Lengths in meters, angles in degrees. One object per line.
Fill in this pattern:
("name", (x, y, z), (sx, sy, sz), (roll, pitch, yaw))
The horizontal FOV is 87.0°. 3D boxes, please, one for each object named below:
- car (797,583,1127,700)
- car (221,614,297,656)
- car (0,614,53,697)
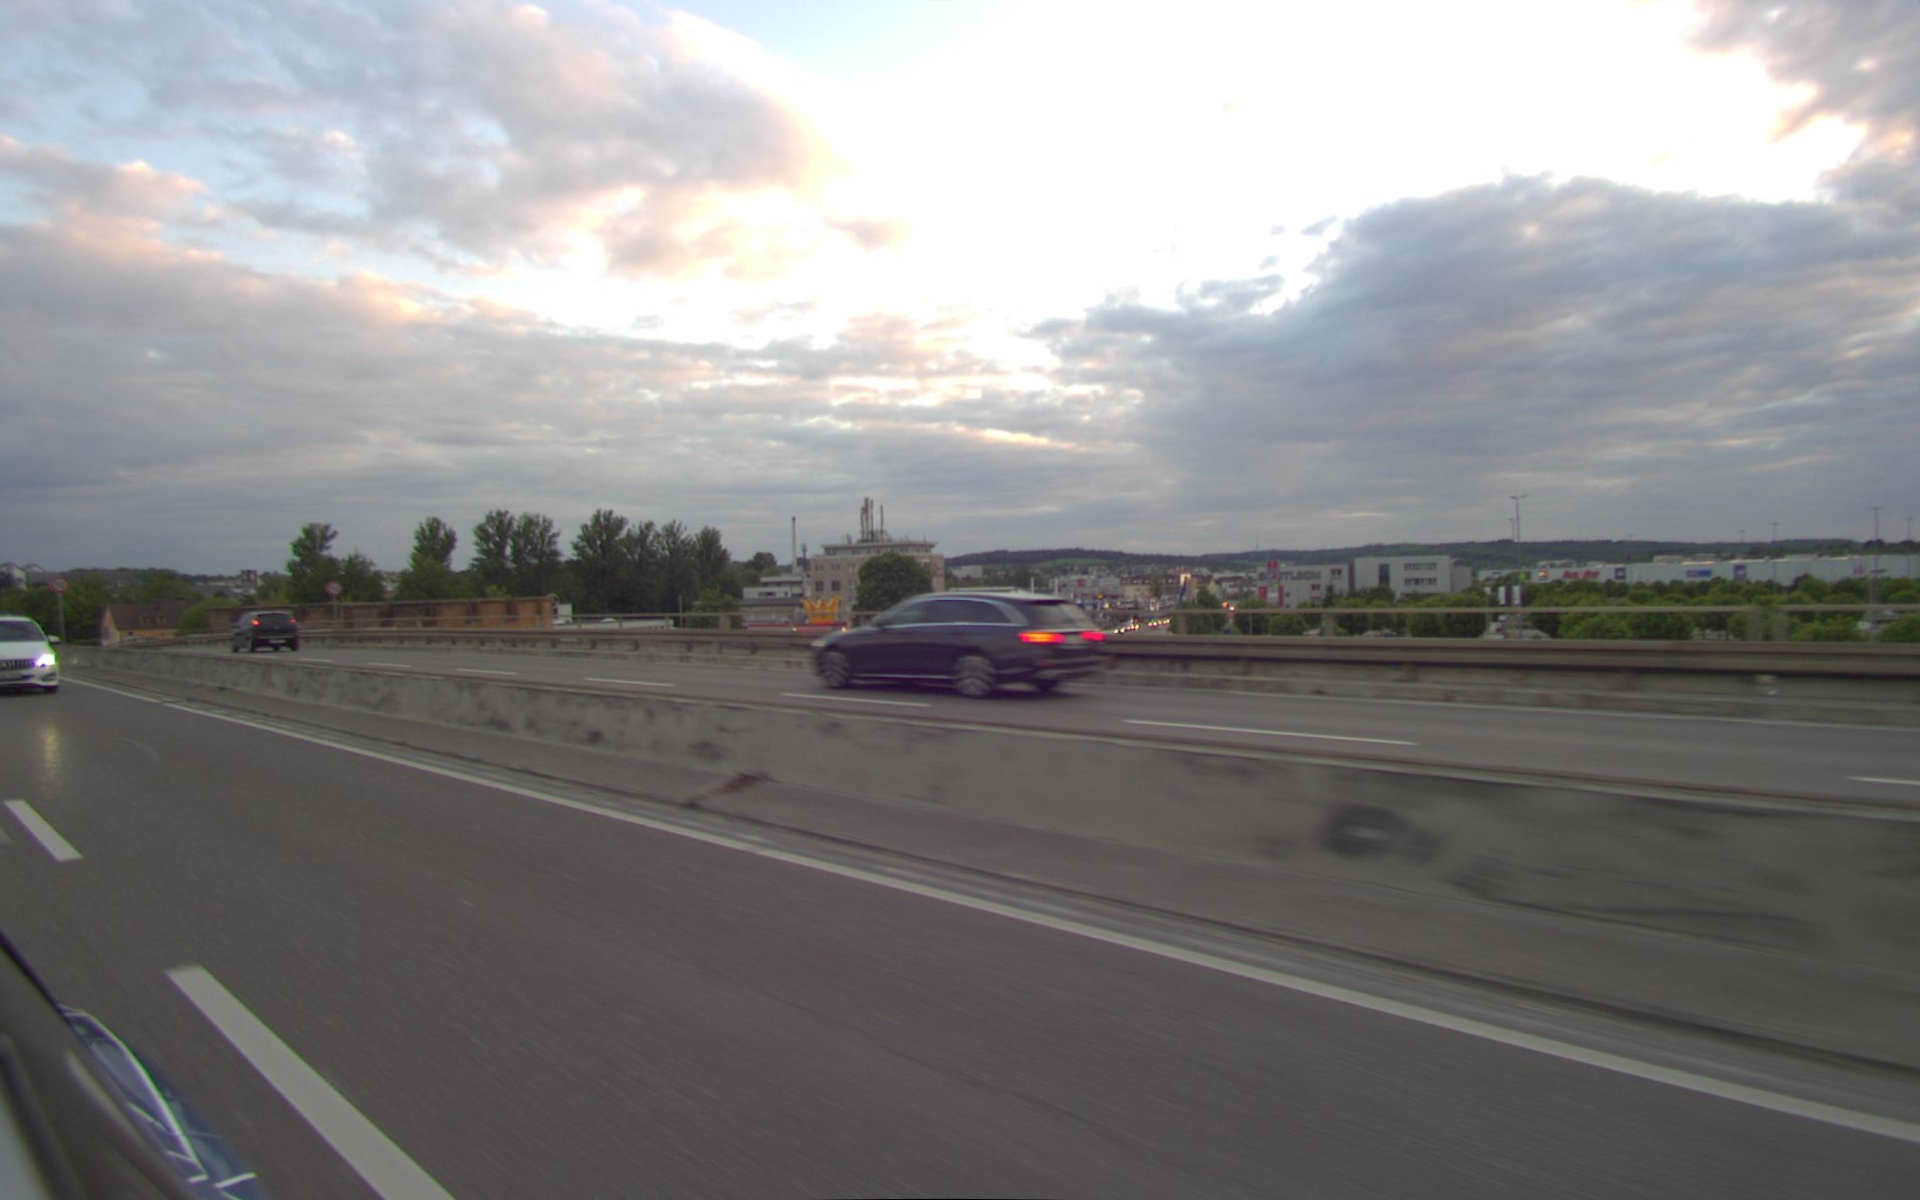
("car", (-0.117, 0.596, 15.121), (4.897, 1.485, 1.810), (-2, -1, 40))
("car", (-28.351, 1.382, 40.892), (4.042, 1.606, 1.639), (-1, 0, 42))
("car", (-20.016, 1.142, 20.652), (4.781, 1.549, 1.673), (-3, -1, 41))
